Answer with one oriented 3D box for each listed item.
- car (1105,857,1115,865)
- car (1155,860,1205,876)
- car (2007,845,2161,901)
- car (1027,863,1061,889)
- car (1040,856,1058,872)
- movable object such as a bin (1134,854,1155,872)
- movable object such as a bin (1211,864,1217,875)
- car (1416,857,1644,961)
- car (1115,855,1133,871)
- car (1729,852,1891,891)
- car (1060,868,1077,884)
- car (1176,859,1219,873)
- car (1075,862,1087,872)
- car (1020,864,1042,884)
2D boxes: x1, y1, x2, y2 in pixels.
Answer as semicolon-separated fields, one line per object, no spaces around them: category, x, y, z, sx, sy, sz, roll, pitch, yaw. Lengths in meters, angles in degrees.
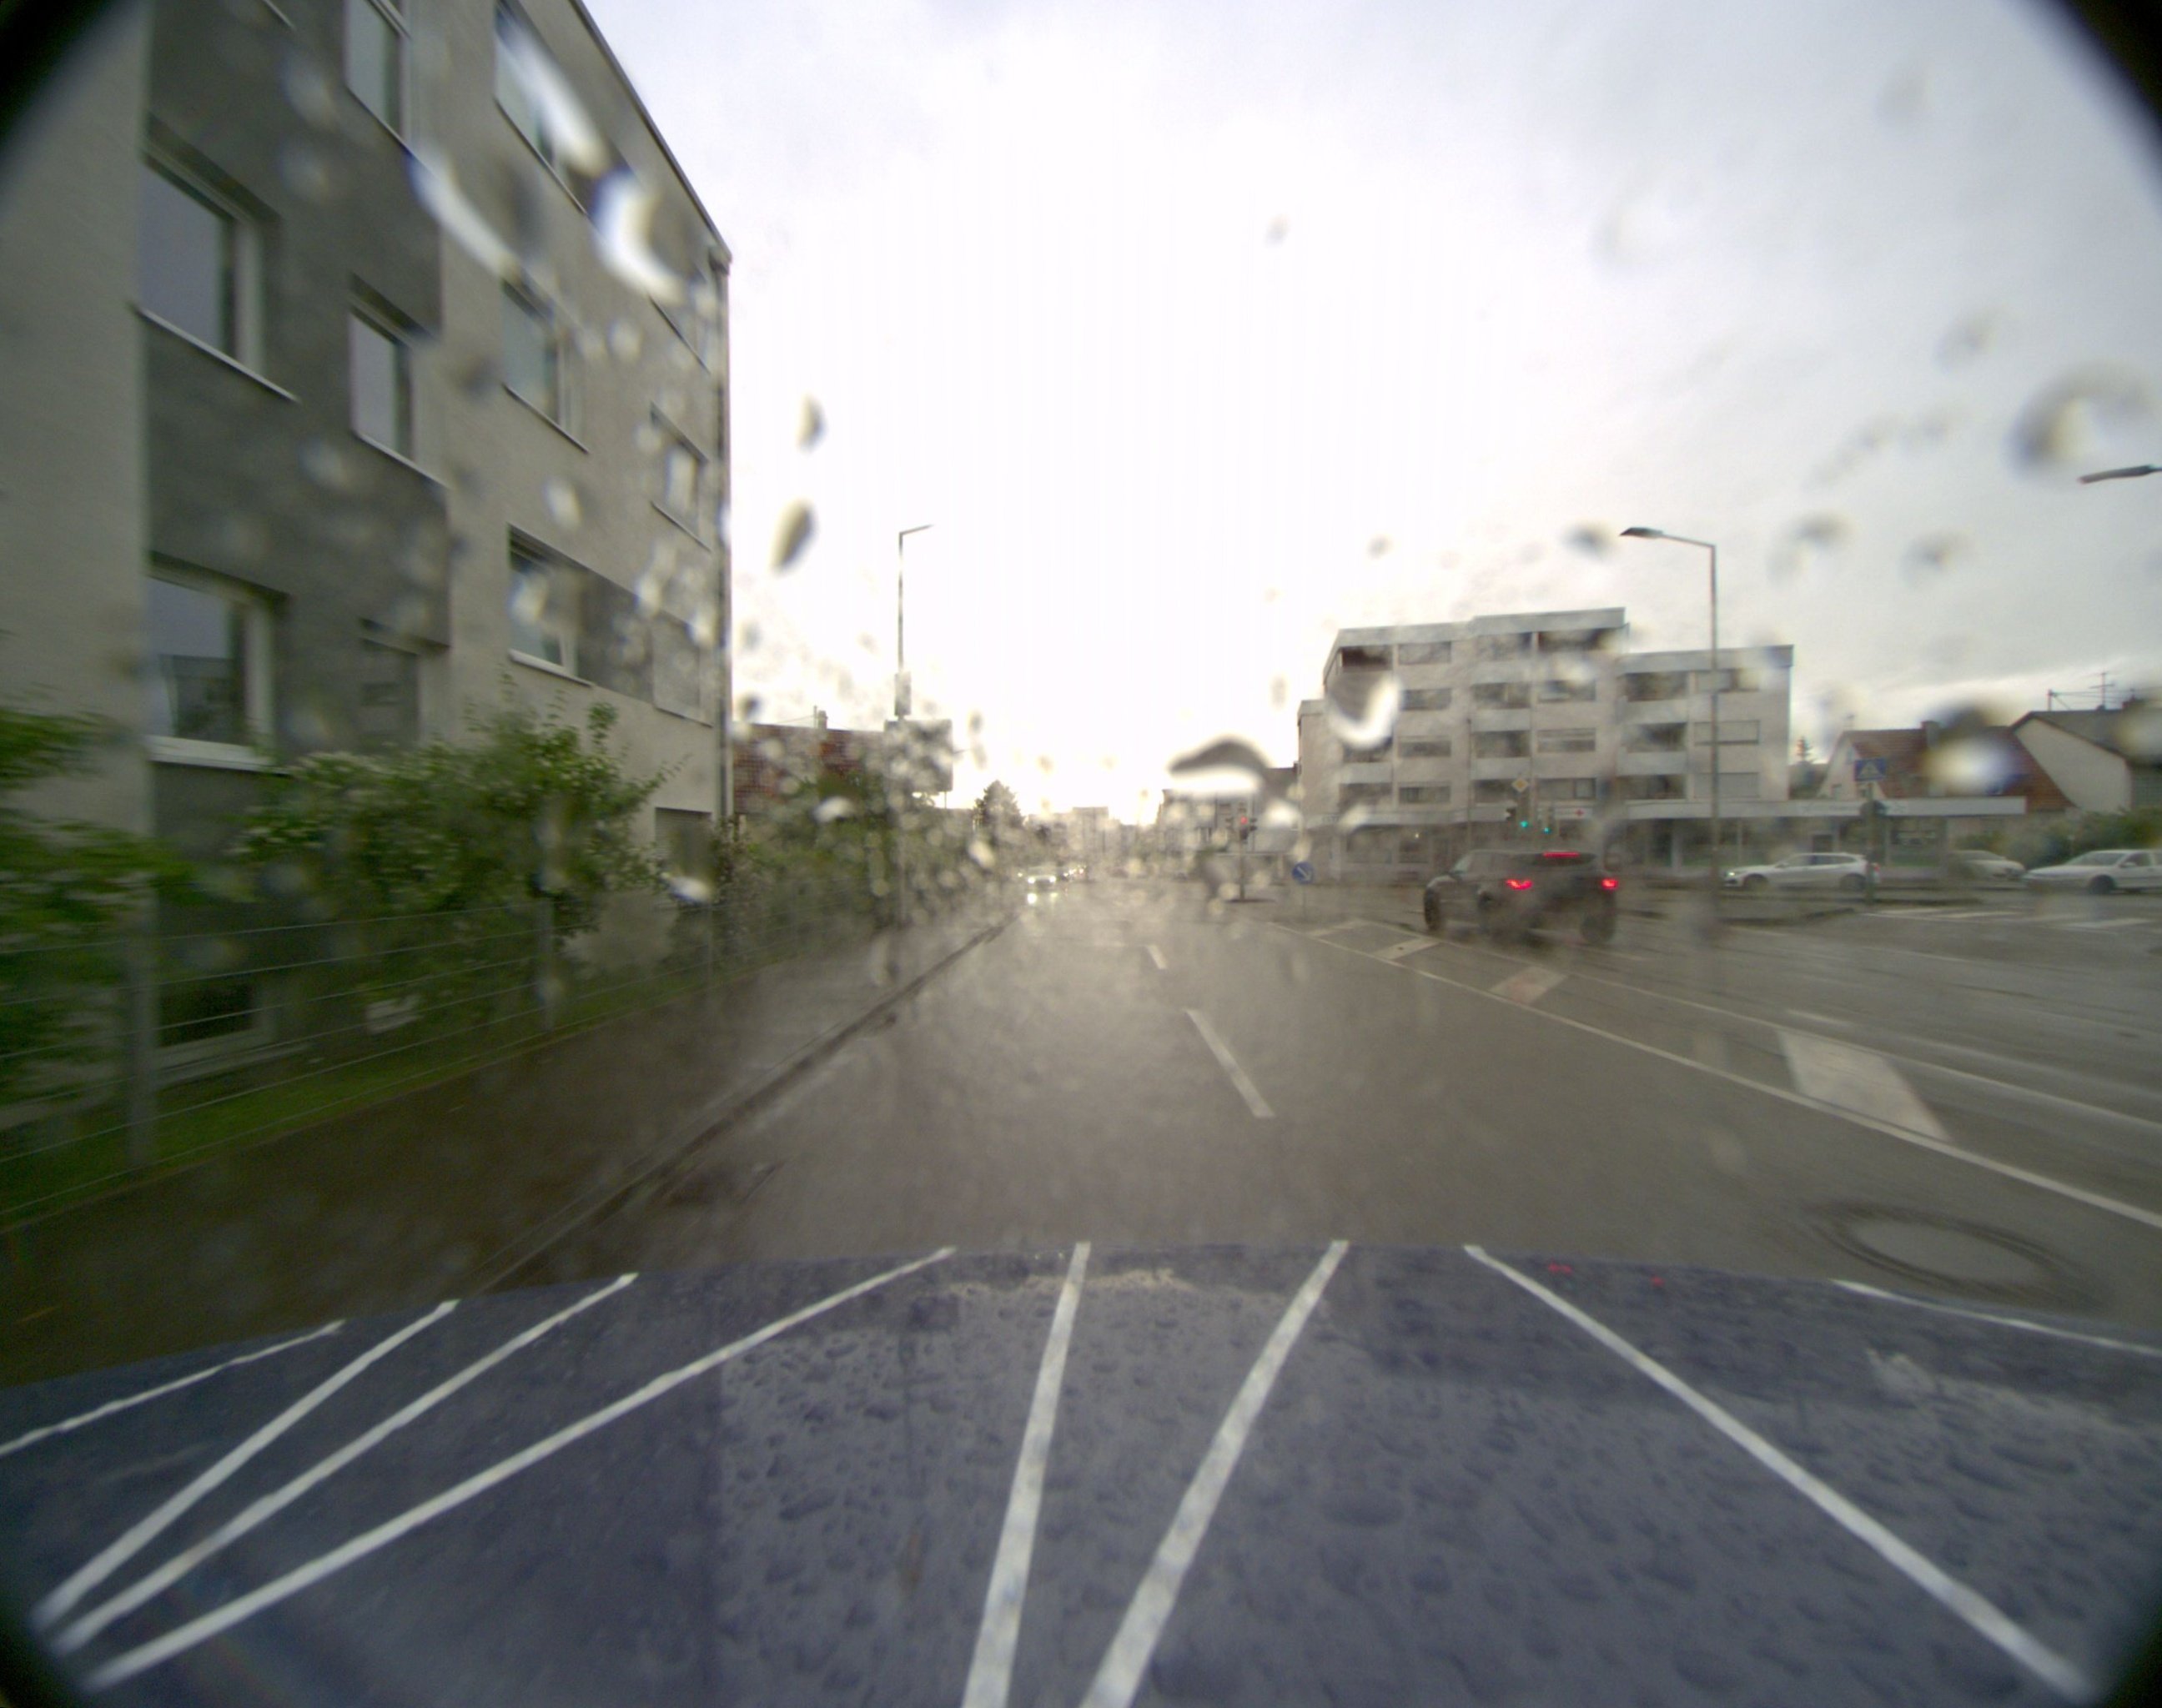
car;6.777;1.704;175.943;2.102;1.822;4.735;-1;-1;4
car;11.507;1.618;88.013;5.469;1.674;2.151;-1;-1;18
car;33.814;0.605;25.105;3.913;1.722;1.836;-1;0;6
car;-2.171;1.253;45.258;1.830;1.431;4.345;-1;0;-1
car;-3.991;1.250;94.883;1.999;1.849;4.000;1;0;0
movable object such as a bin;10.284;1.509;123.602;2.922;2.824;2.200;-1;0;17
movable object such as a bin;11.768;1.369;67.017;0.500;0.955;0.602;-1;0;11
car;7.704;0.852;13.596;1.806;1.547;4.320;-1;0;5
car;5.545;1.105;98.304;1.999;2.001;4.652;-1;-1;-1
car;27.829;0.663;29.234;4.276;1.426;1.838;-1;0;35
car;-1.258;2.217;77.472;1.651;1.547;3.351;-1;-1;0
car;12.756;1.352;83.398;4.621;1.487;1.930;0;0;4
car;-0.007;2.353;139.984;1.998;1.849;4.001;1;0;1
car;-4.814;1.917;73.158;1.999;1.849;3.999;1;0;-3
